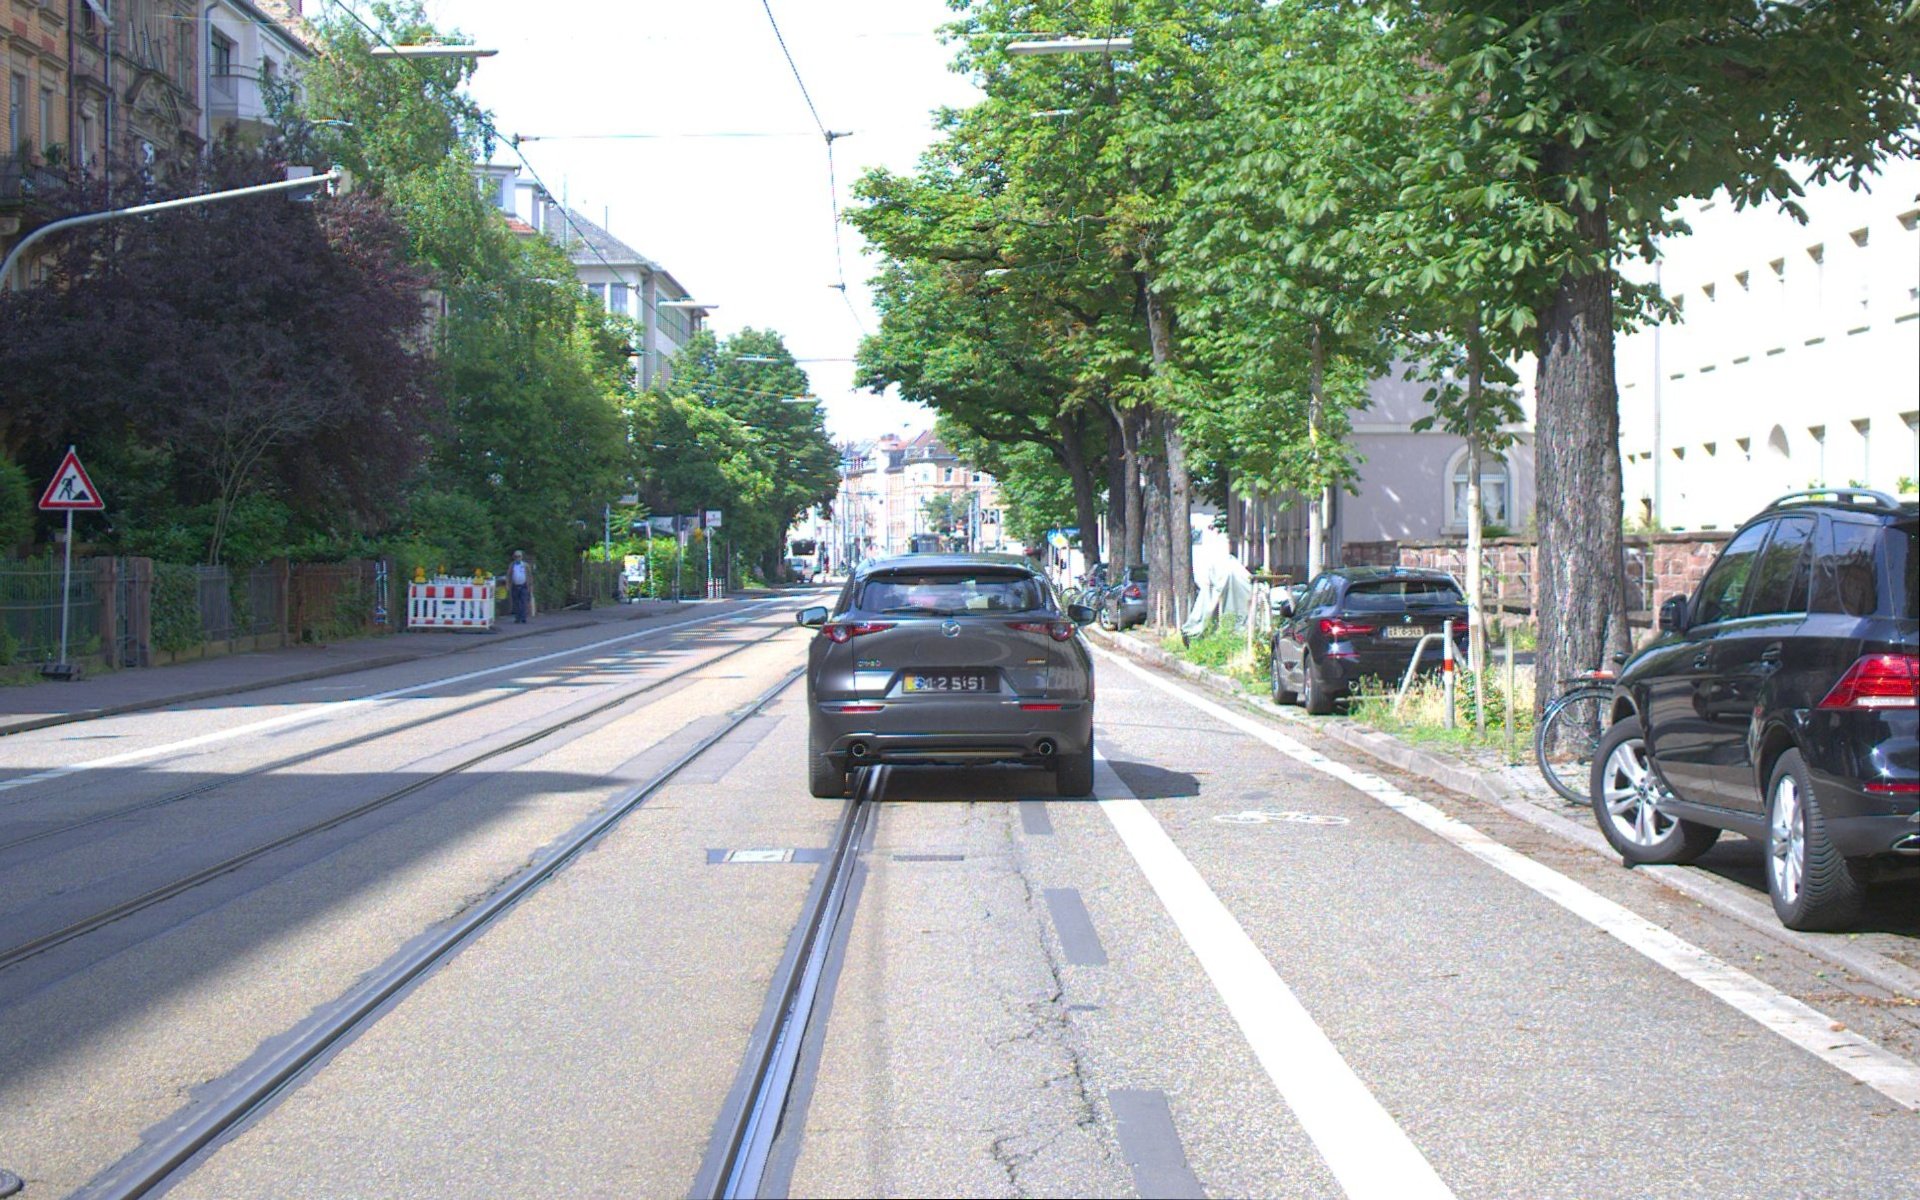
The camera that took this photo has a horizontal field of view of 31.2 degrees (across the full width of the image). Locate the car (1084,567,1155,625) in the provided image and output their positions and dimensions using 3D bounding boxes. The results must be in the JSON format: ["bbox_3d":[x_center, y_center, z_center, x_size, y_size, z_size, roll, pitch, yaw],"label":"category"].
[{"bbox_3d":[4.217,-0.128,91.142,1.666,1.425,3.766,-2,1,0],"label":"car"}]

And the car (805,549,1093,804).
[{"bbox_3d":[-0.083,0.435,22.434,1.720,1.521,3.590,0,1,-1],"label":"car"}]

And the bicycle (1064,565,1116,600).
[{"bbox_3d":[3.800,-0.506,100.222,1.491,0.980,0.259,-1,0,2],"label":"bicycle"}]

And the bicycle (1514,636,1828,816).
[{"bbox_3d":[4.170,0.734,20.237,1.708,1.003,0.638,-1,1,0],"label":"bicycle"}]

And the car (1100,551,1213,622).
[{"bbox_3d":[4.155,-0.303,73.301,1.846,1.404,4.395,-2,1,-3],"label":"car"}]

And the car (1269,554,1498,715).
[{"bbox_3d":[4.191,0.305,34.611,1.706,1.474,4.197,2,1,0],"label":"car"}]

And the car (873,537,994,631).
[{"bbox_3d":[-0.469,-0.292,60.190,1.993,1.523,4.000,2,1,-1],"label":"car"}]

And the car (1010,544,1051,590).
[{"bbox_3d":[3.034,-1.454,149.000,1.720,1.962,4.207,0,1,0],"label":"car"}]

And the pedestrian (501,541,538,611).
[{"bbox_3d":[-10.868,-0.599,84.786,0.822,1.700,0.891,0,0,-3],"label":"pedestrian"}]

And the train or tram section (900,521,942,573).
[{"bbox_3d":[-2.943,-3.943,257.503,2.571,3.760,13.027,0,1,-3],"label":"train or tram section"}]

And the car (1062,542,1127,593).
[{"bbox_3d":[5.165,-1.271,132.392,1.786,1.932,4.992,0,1,-6],"label":"car"}]

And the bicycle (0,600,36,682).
[{"bbox_3d":[-11.463,0.483,40.688,0.530,0.943,1.968,-1,1,0],"label":"bicycle"}]

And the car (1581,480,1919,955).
[{"bbox_3d":[4.118,0.384,15.227,1.827,1.776,4.733,-1,1,-1],"label":"car"}]

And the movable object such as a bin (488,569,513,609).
[{"bbox_3d":[-12.585,-0.293,94.149,0.538,1.090,0.789,0,1,5],"label":"movable object such as a bin"}]

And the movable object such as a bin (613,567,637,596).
[{"bbox_3d":[-11.784,-0.646,120.949,0.745,0.984,1.114,2,1,0],"label":"movable object such as a bin"}]

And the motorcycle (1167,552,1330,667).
[{"bbox_3d":[4.222,0.125,50.485,2.385,1.592,0.677,2,2,39],"label":"motorcycle"}]

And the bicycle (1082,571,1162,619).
[{"bbox_3d":[4.058,-0.128,86.107,1.938,1.172,0.513,-1,0,12],"label":"bicycle"}]
